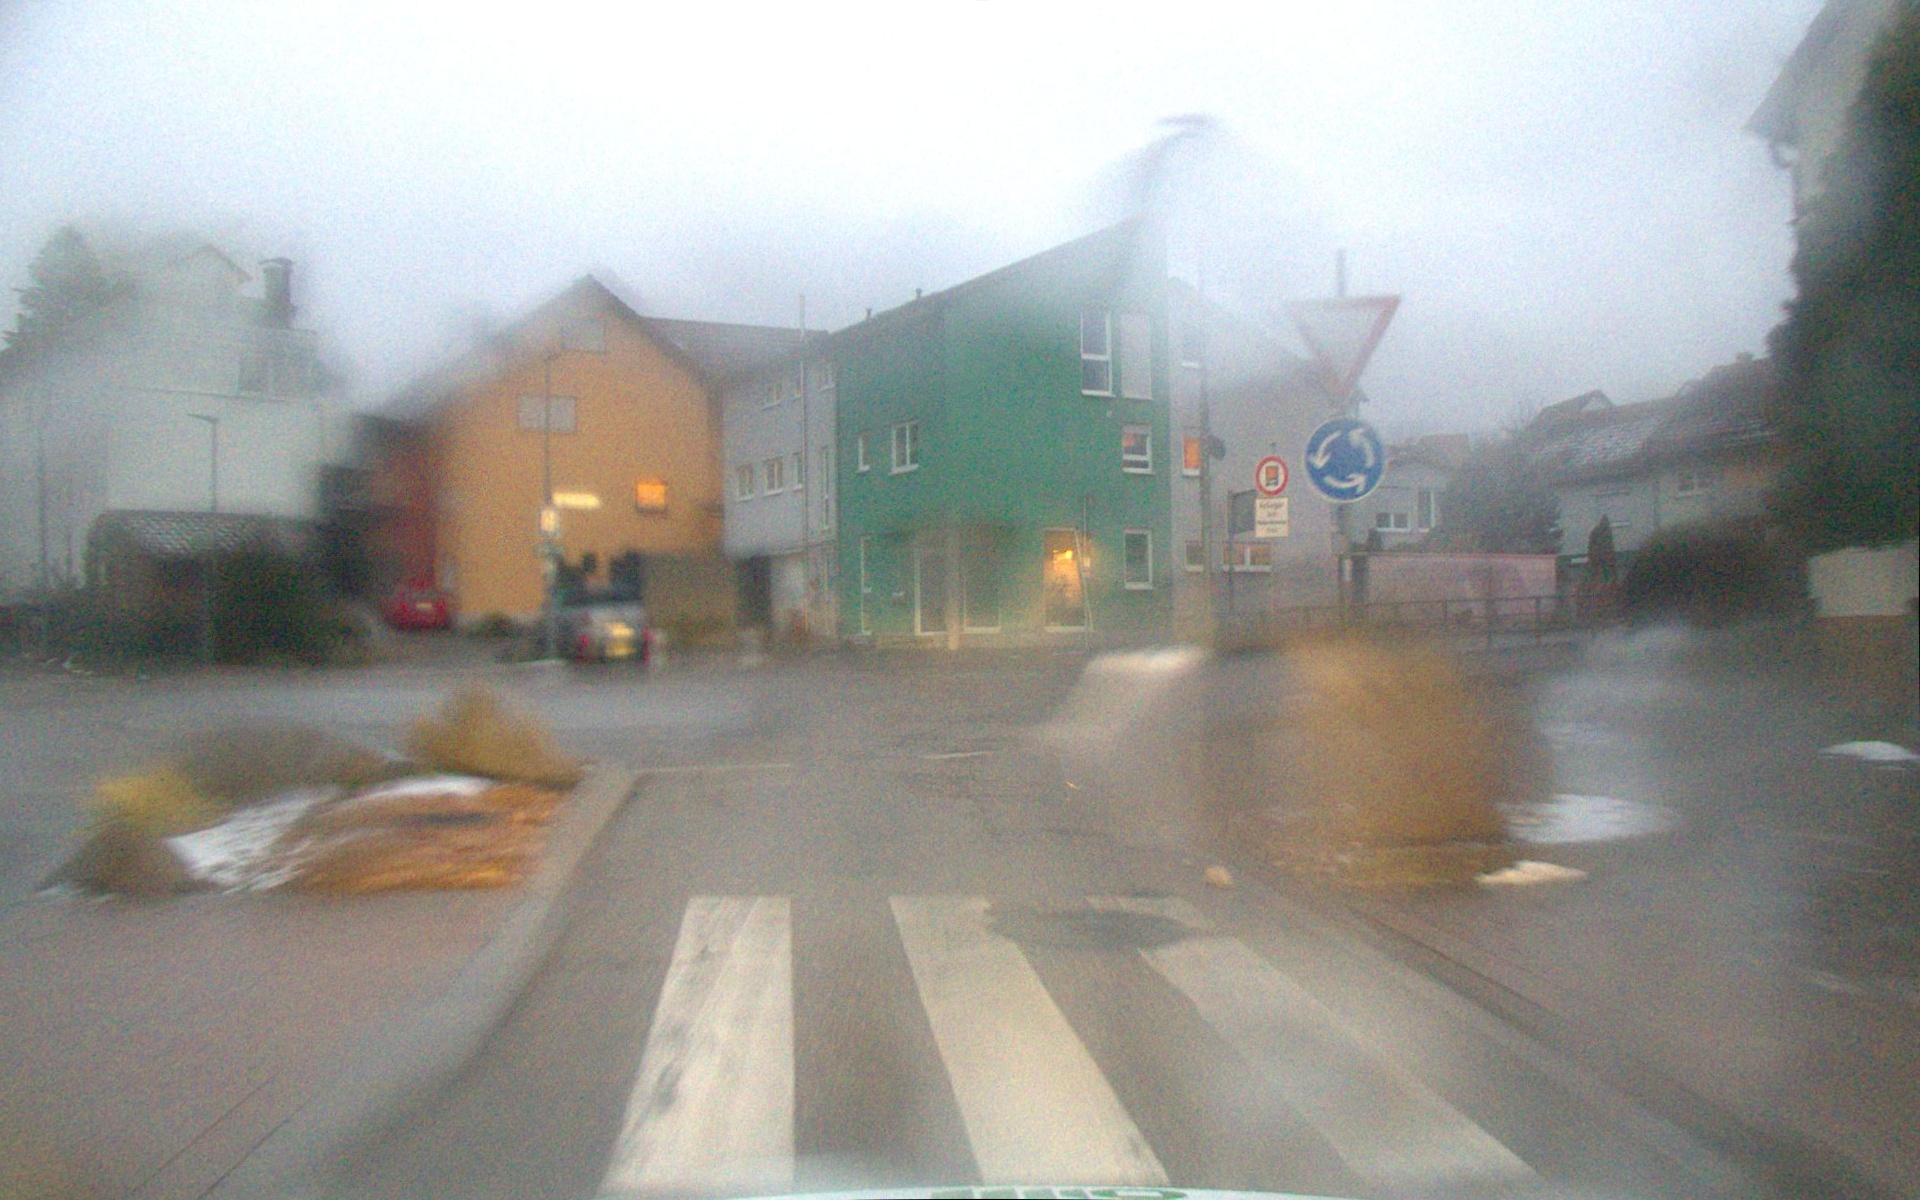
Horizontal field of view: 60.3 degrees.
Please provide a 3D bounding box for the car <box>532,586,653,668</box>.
[{"bbox_3d":[-8.162,0.540,36.490,1.966,1.673,3.972,0,1,-23],"label":"car"}]

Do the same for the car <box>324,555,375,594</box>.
[{"bbox_3d":[-27.127,-1.118,73.380,1.966,1.673,3.972,0,1,-23],"label":"car"}]

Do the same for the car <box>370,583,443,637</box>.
[{"bbox_3d":[-18.065,0.296,53.894,1.966,1.673,3.972,0,1,-23],"label":"car"}]
